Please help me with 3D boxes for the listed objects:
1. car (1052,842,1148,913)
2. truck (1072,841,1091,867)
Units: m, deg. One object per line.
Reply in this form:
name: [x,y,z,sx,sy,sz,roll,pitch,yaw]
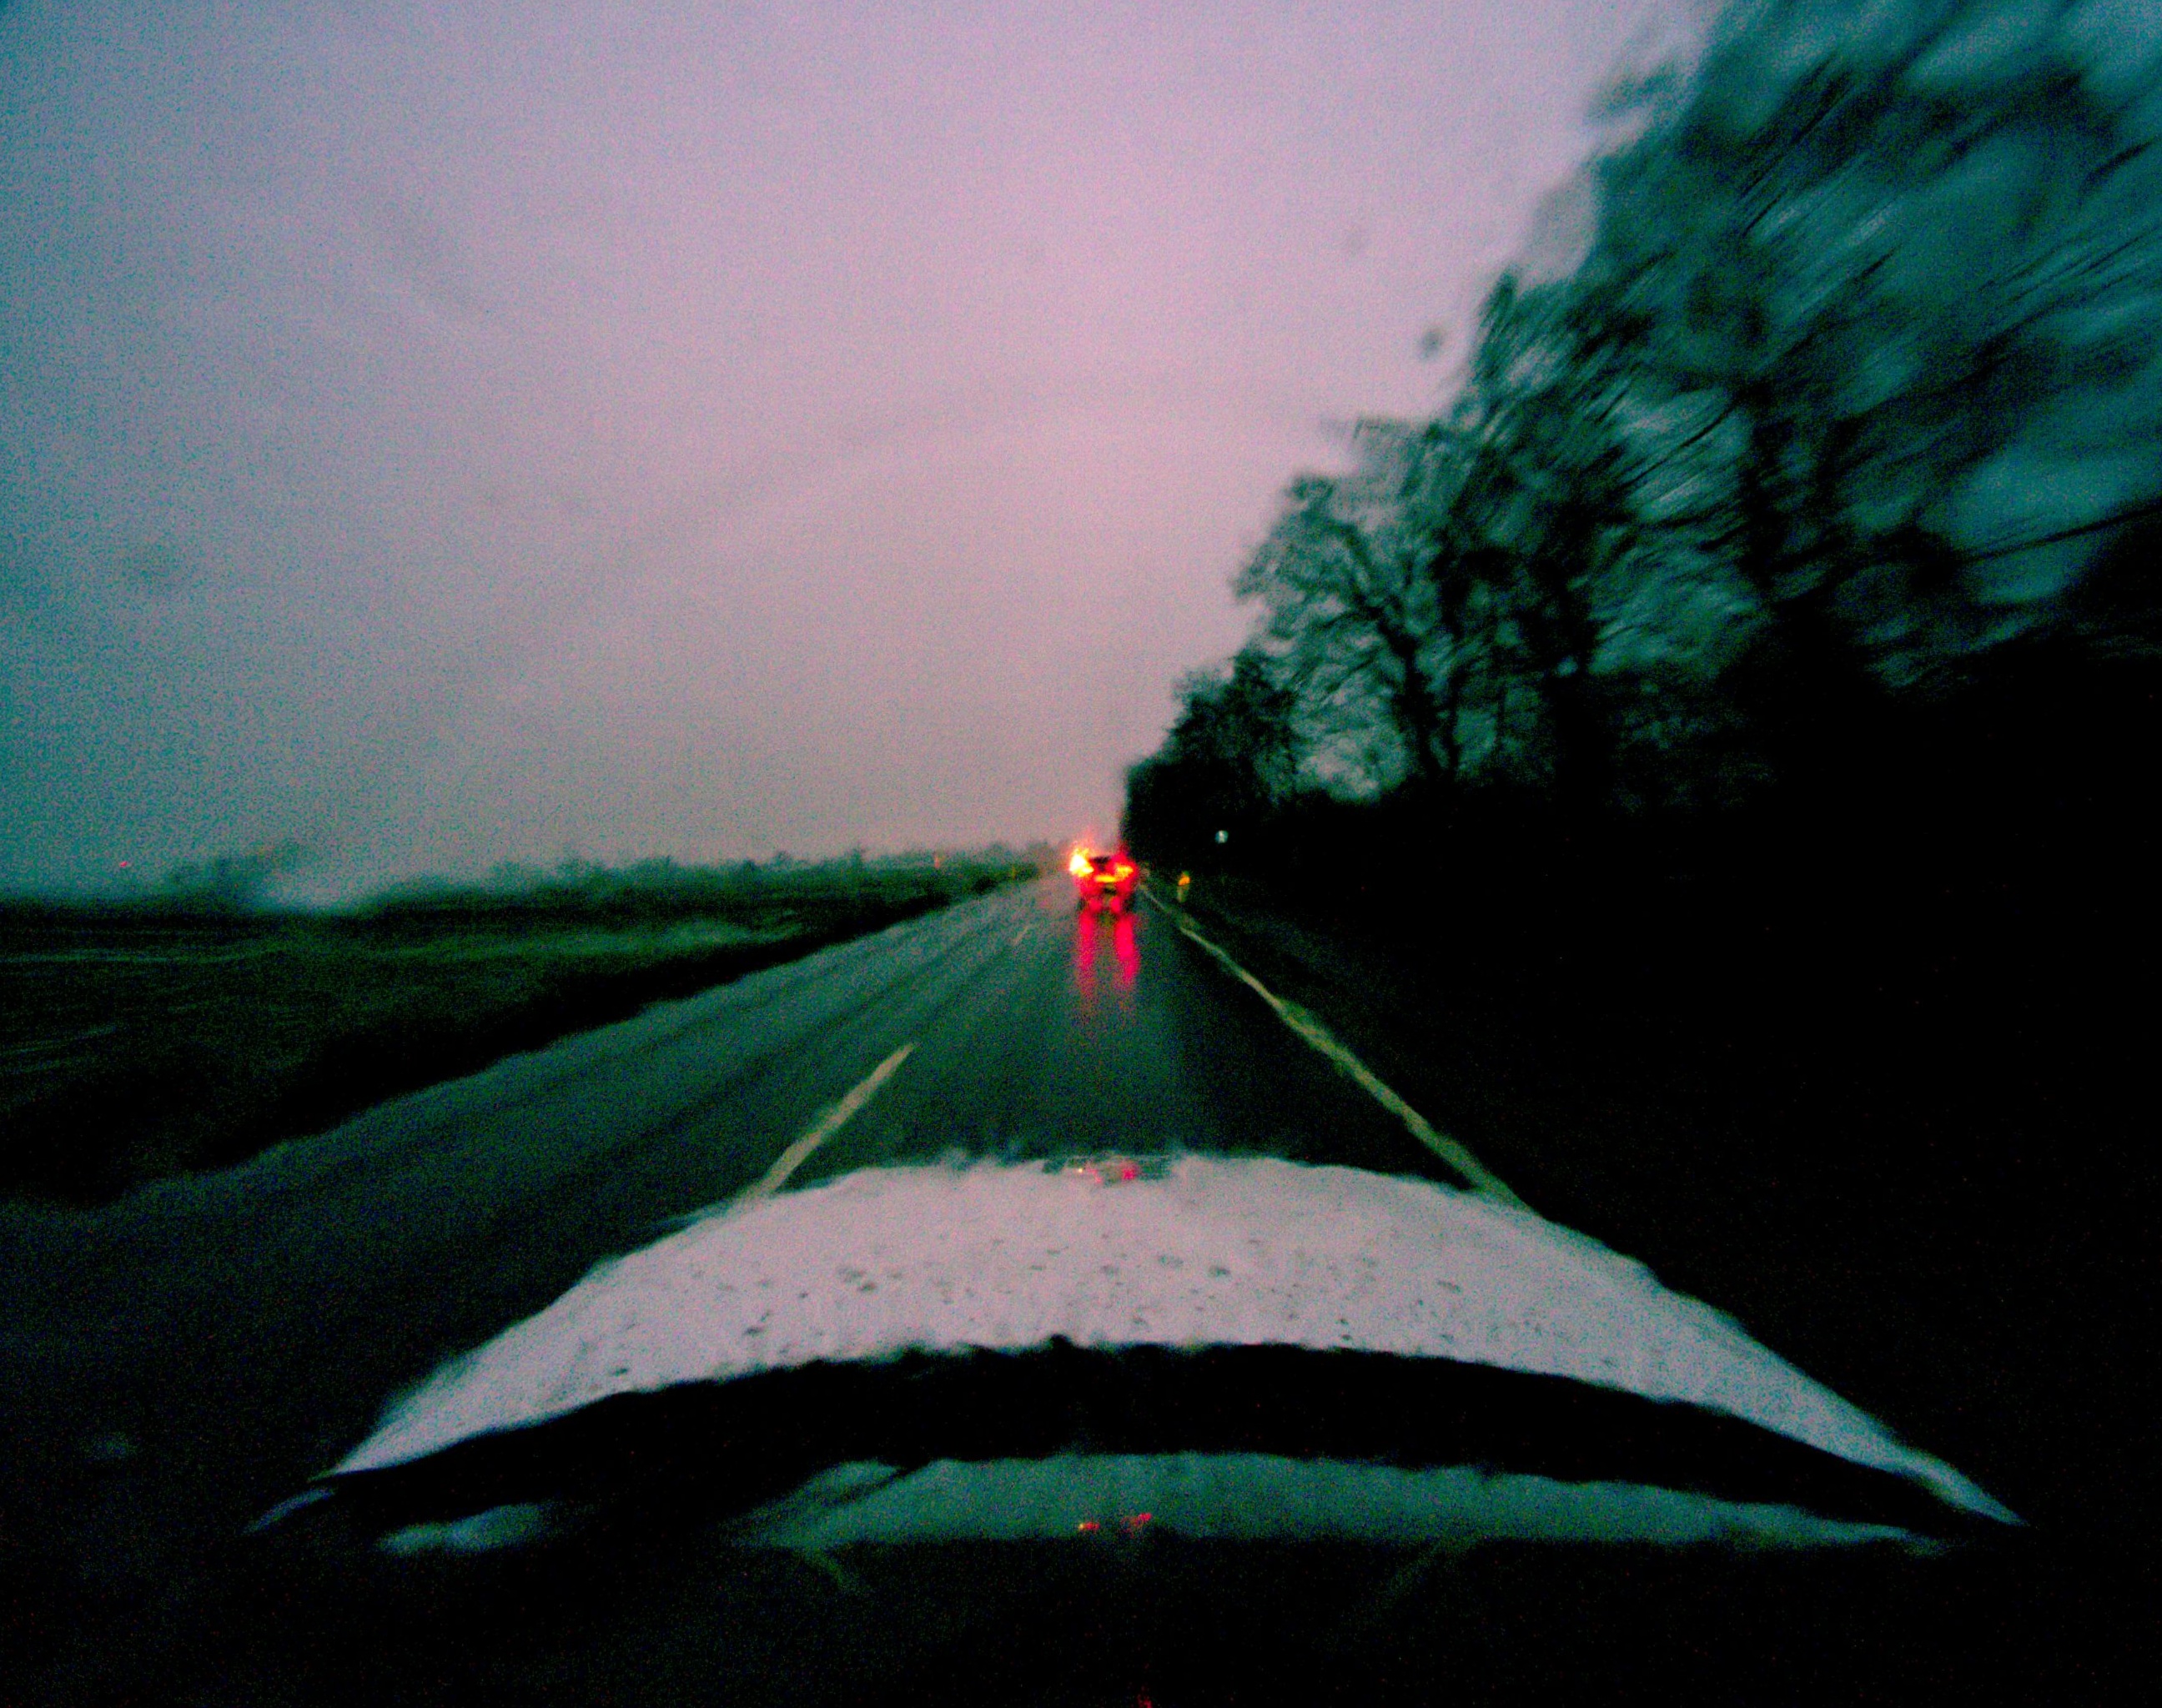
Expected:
car: [0.677,0.714,27.100,2.809,2.077,5.807,-1,0,2]
truck: [0.104,-0.041,133.903,2.715,4.105,6.589,-3,0,1]
